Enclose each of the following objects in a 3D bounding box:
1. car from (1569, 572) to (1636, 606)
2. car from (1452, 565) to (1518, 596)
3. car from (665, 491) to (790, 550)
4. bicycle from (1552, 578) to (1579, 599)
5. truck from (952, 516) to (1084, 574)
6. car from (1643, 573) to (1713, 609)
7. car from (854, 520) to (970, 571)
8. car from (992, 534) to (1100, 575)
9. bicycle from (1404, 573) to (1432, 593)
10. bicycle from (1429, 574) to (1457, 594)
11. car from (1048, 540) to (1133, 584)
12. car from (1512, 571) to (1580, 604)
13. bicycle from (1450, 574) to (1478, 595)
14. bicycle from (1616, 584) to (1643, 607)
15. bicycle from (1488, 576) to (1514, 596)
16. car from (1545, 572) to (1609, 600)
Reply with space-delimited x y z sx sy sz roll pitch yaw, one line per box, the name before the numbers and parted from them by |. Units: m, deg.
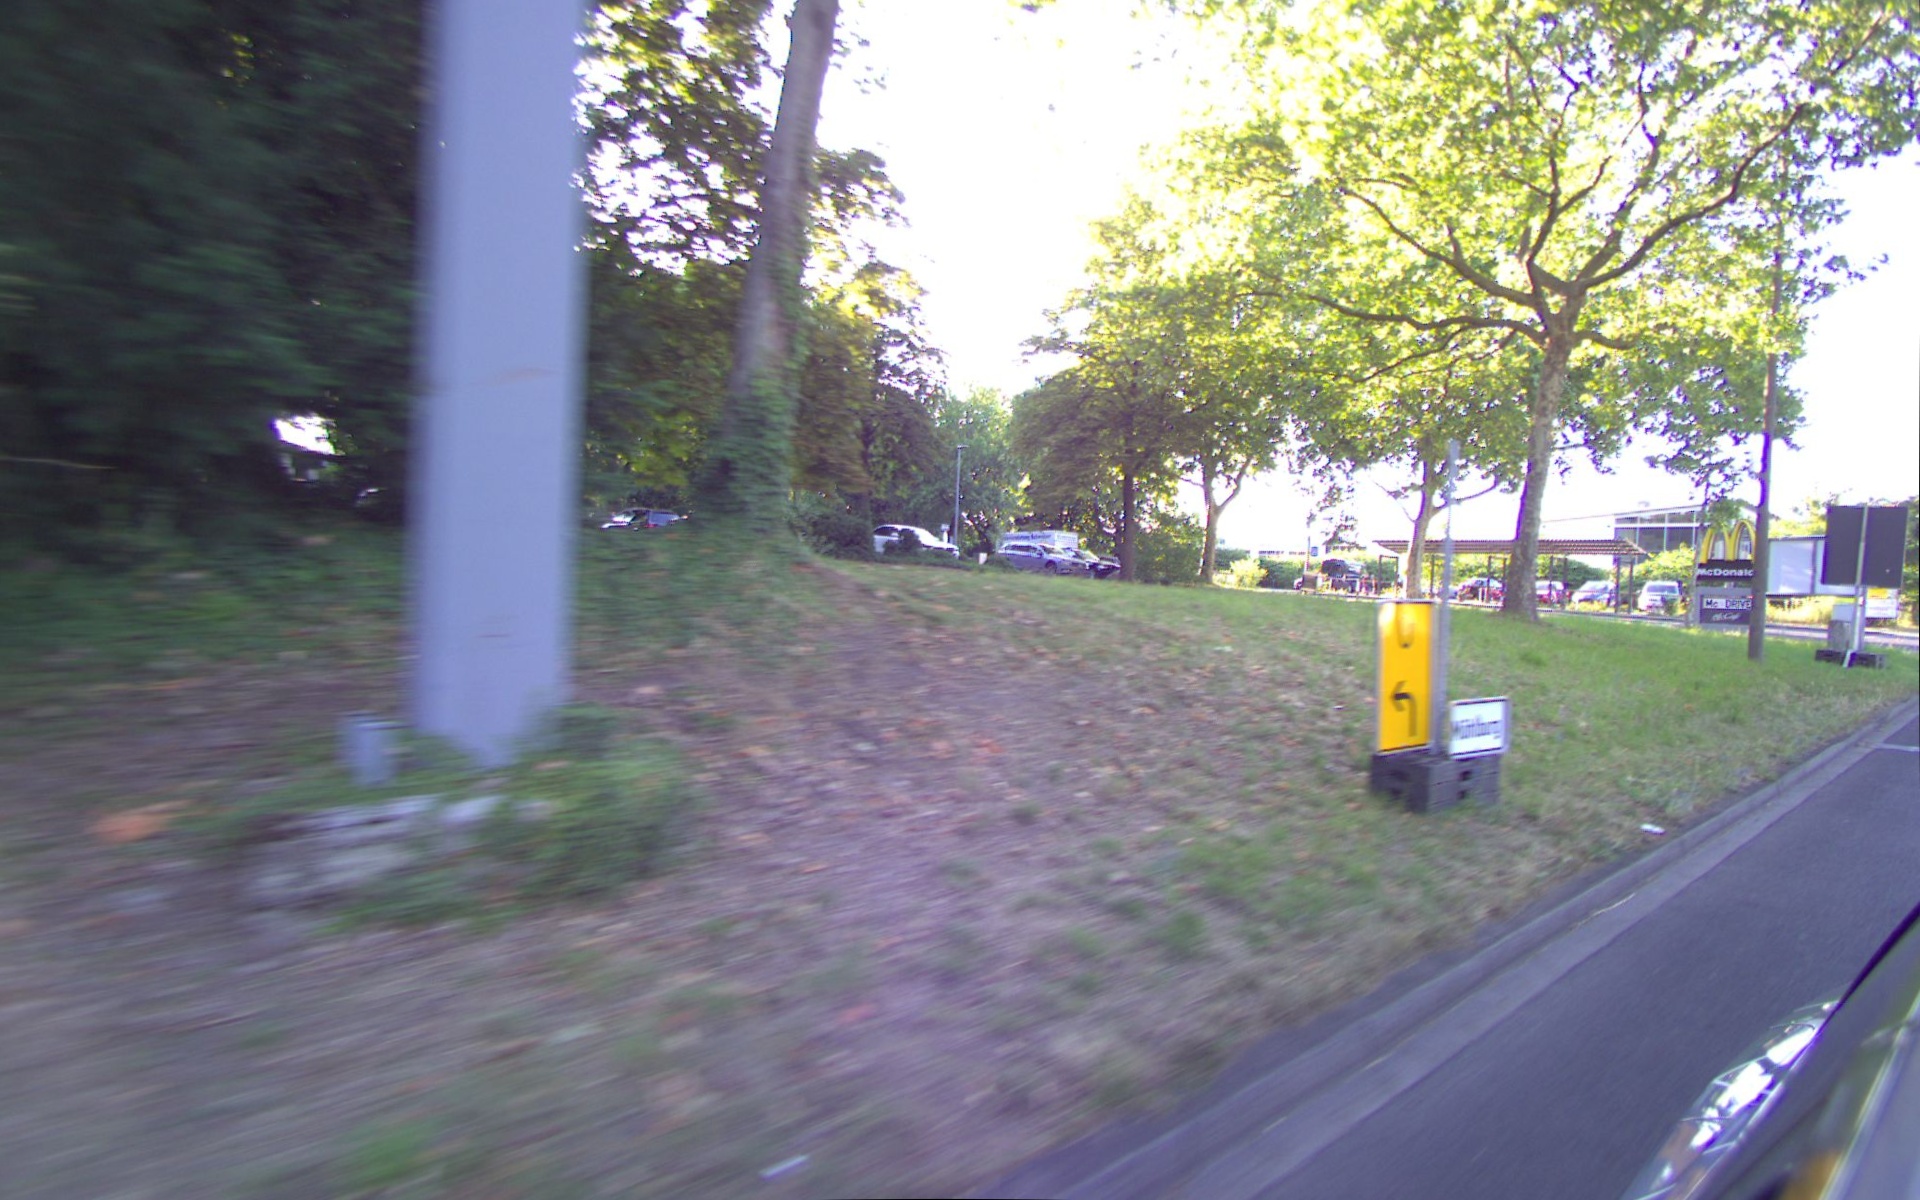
car | 35.141 -0.598 55.308 3.932 1.668 2.117 1 3 -43
car | 31.540 -1.135 60.743 4.247 1.668 2.117 1 3 -43
car | -7.592 -2.576 32.831 4.209 1.708 1.801 4 3 41
bicycle | 30.751 -0.588 51.388 1.860 1.051 0.543 0 3 -41
truck | 4.093 -4.152 75.393 3.136 3.923 11.096 1 3 -38
car | 37.638 -0.457 53.013 4.155 1.668 2.117 1 3 -43
car | -1.894 -2.080 37.998 1.962 1.727 4.901 1 3 -36
car | 3.589 -1.956 43.054 2.008 1.593 4.398 1 3 -40
bicycle | 25.926 -0.964 57.290 1.858 1.051 0.544 1 2 -37
bicycle | 26.701 -0.855 55.914 1.858 1.051 0.544 1 2 -37
car | 5.731 -1.687 44.609 1.649 1.751 3.501 1 3 -39
car | 33.459 -0.710 57.760 4.247 1.668 2.117 1 3 -43
bicycle | 27.391 -0.829 54.951 1.858 1.051 0.544 1 2 -37
bicycle | 32.319 -0.223 48.858 1.860 1.051 0.543 0 3 -41
bicycle | 28.649 -0.736 53.598 1.860 1.051 0.543 0 3 -41
car | 41.841 -0.937 68.640 3.921 1.656 2.123 1 2 -32
